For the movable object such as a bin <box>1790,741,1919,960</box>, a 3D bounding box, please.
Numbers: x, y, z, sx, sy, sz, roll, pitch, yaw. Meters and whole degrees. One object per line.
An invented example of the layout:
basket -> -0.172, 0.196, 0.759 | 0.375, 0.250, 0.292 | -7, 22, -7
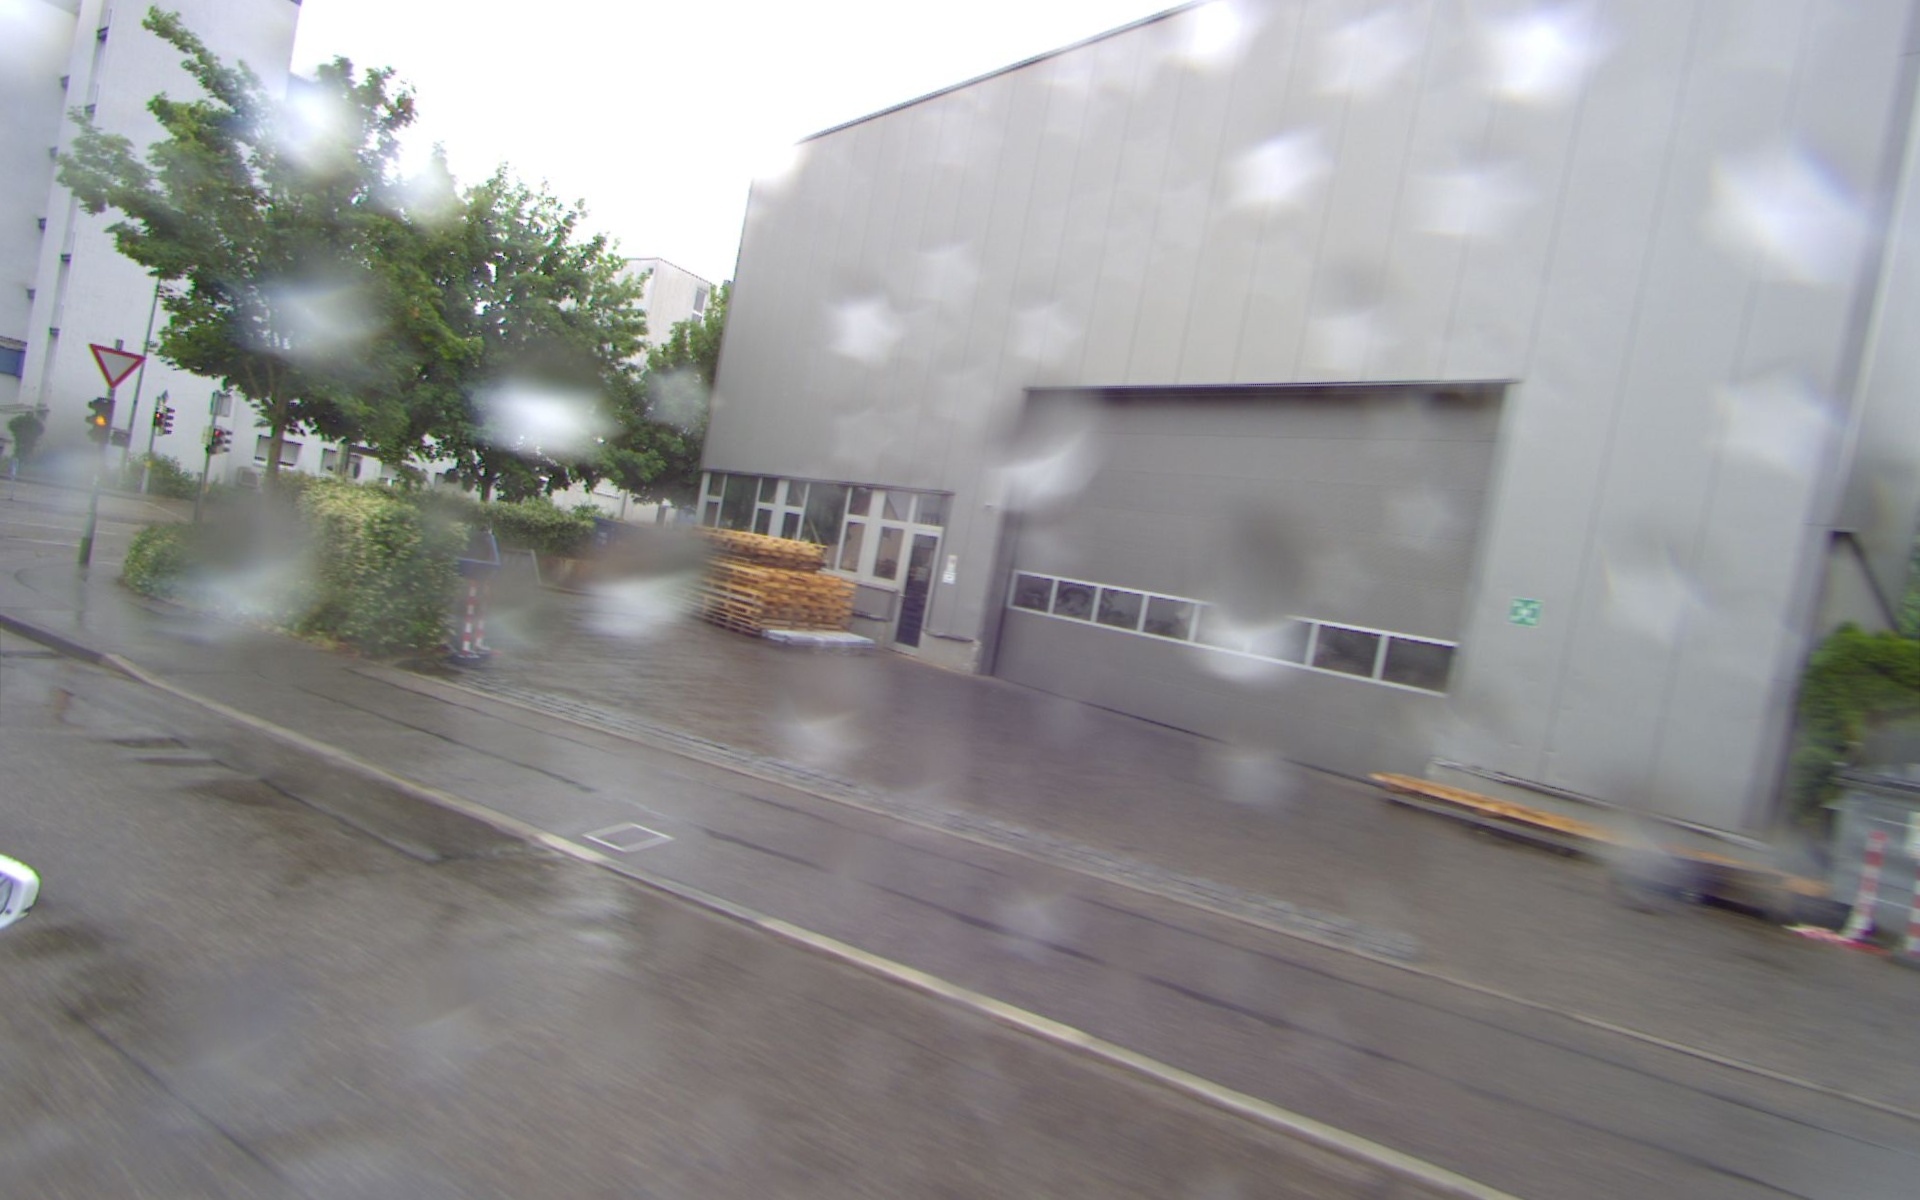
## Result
movable object such as a bin -> 7.967, 2.068, 8.037 | 1.258, 1.537, 1.757 | 6, 2, -43
